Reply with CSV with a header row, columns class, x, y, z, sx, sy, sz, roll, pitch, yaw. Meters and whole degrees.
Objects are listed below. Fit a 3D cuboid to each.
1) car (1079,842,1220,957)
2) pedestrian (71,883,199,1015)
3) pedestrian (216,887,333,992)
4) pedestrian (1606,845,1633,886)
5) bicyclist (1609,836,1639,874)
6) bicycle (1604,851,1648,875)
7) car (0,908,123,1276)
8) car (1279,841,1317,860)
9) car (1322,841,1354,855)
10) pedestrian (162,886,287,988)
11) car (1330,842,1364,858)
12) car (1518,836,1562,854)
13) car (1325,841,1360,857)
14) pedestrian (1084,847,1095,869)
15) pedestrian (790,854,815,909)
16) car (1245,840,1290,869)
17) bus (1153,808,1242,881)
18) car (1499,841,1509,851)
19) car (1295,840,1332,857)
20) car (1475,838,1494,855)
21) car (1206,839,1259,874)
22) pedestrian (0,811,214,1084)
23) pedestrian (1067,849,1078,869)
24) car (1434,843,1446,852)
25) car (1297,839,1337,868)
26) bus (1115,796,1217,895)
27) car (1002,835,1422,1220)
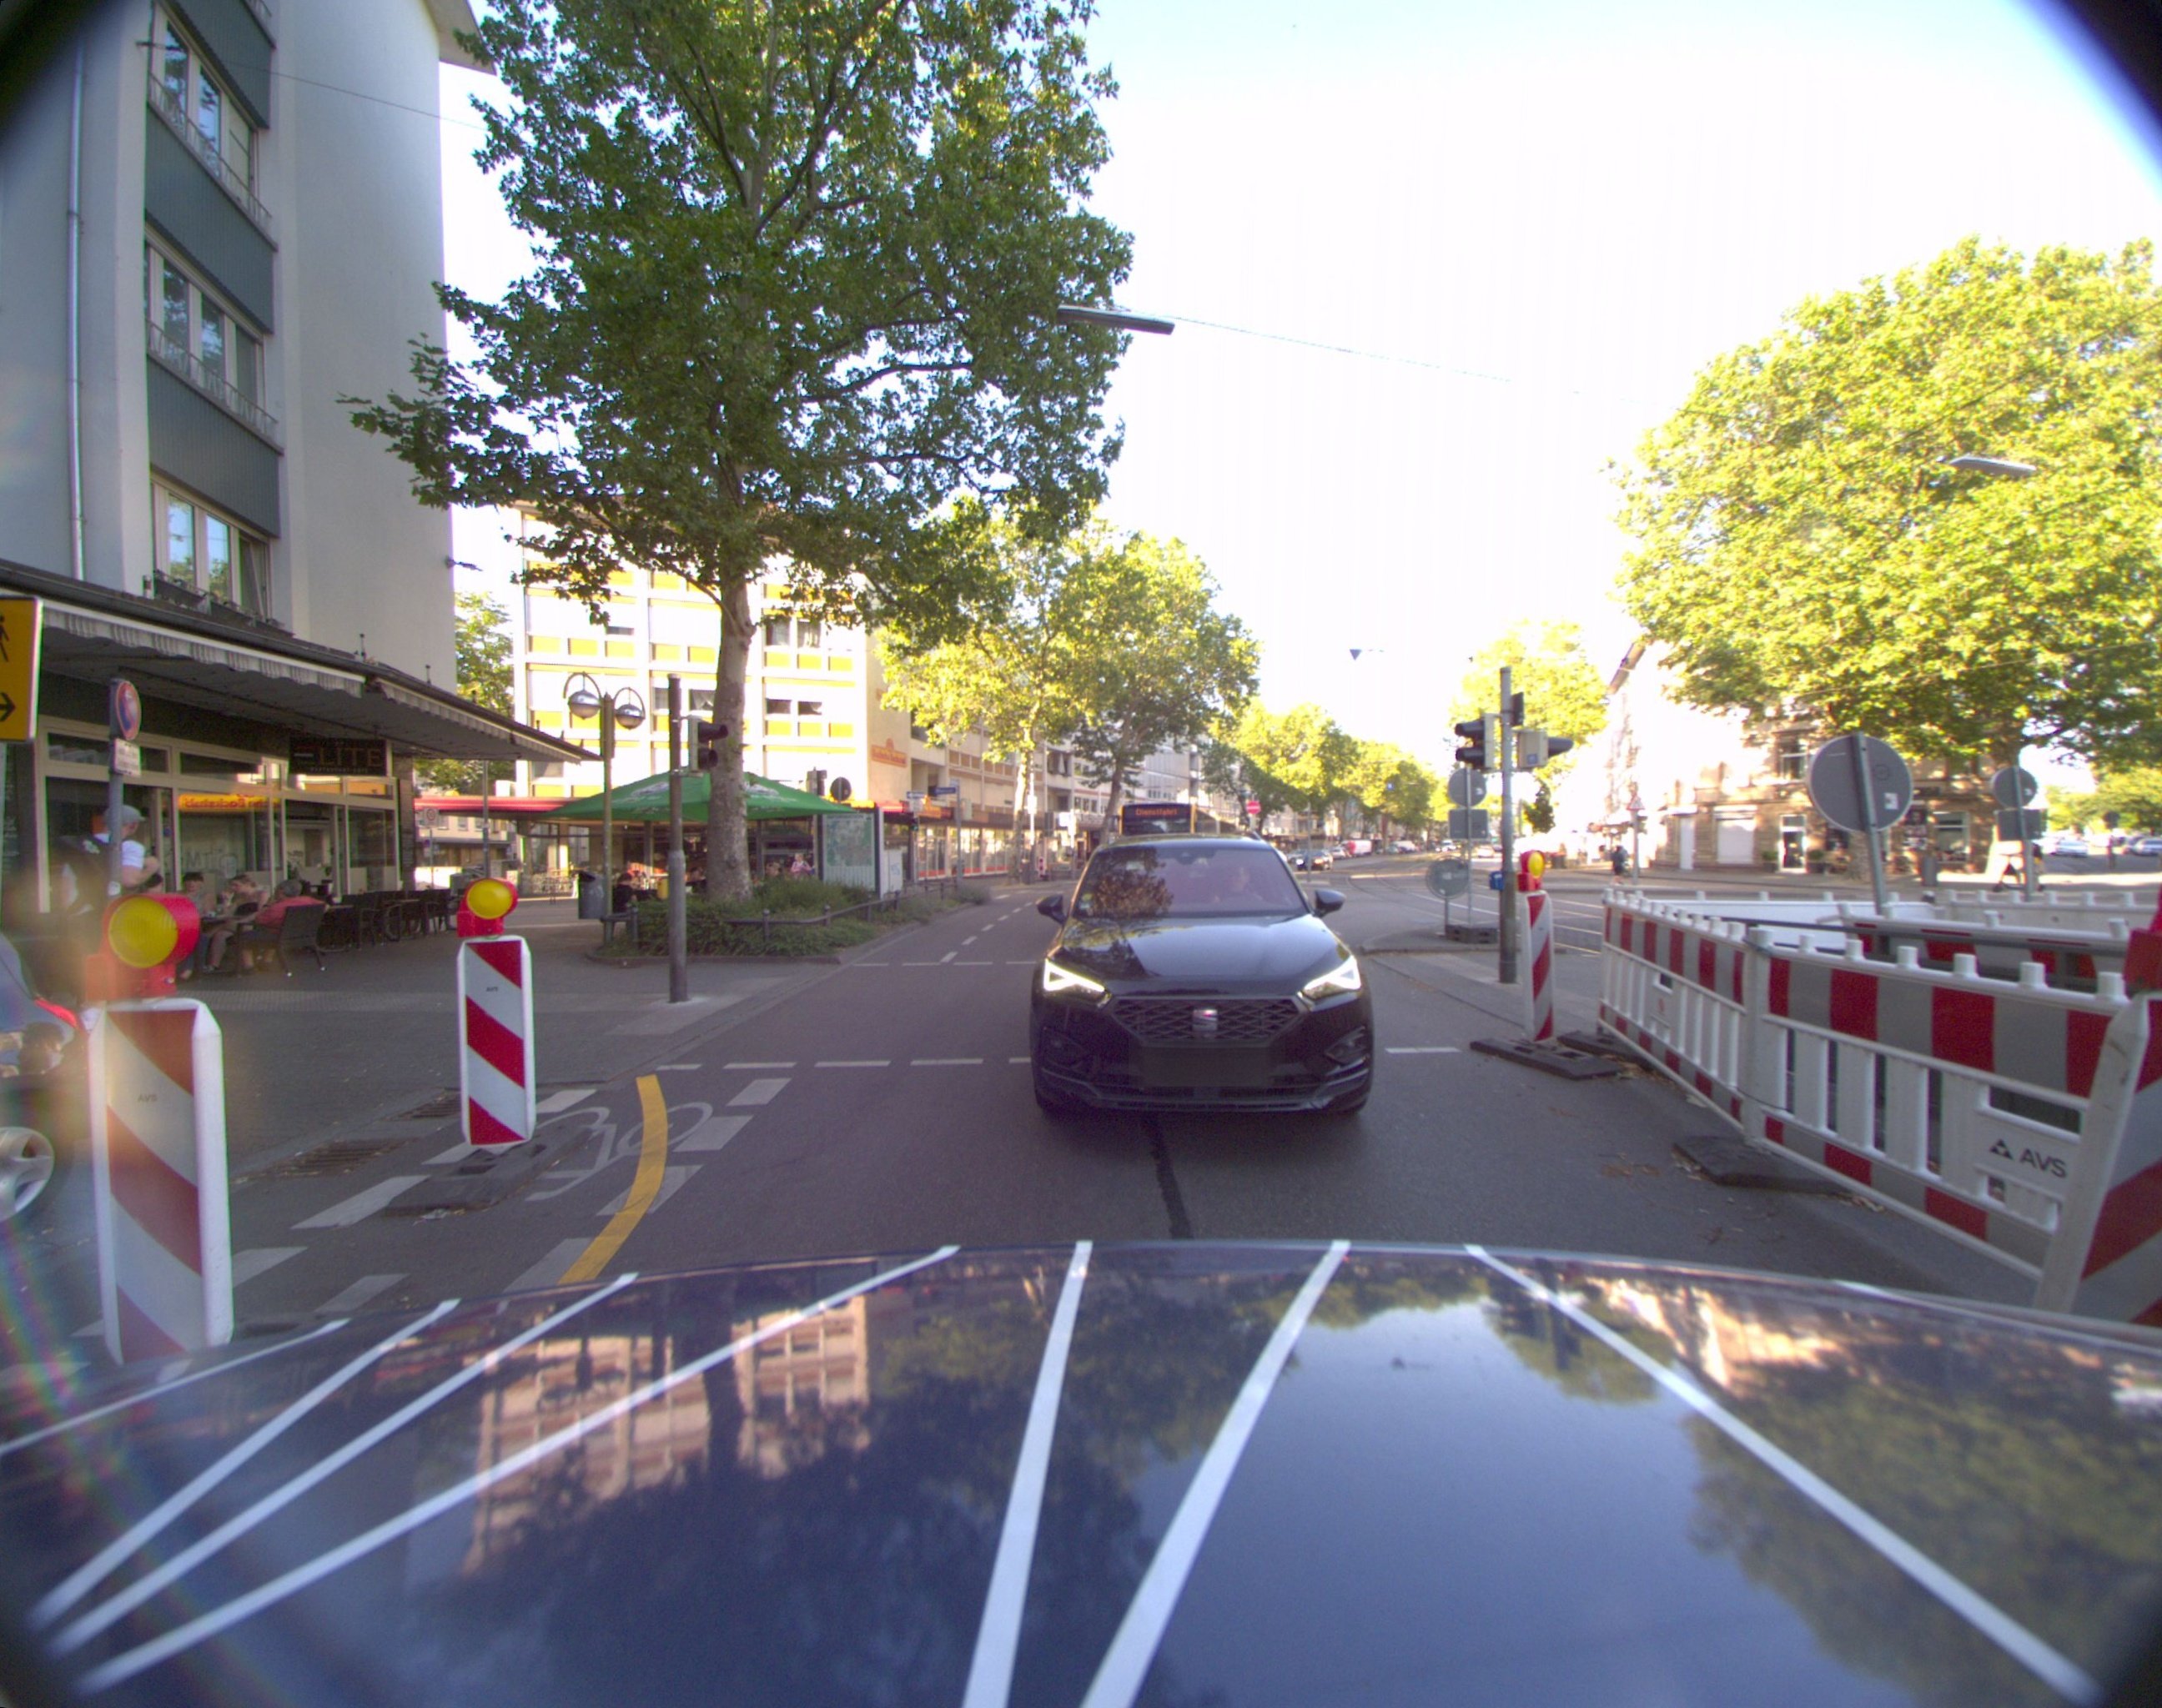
class,x,y,z,sx,sy,sz,roll,pitch,yaw
car,1.013,0.636,12.949,1.998,1.634,4.075,-1,1,1
pedestrian,-10.190,0.979,8.190,0.789,1.299,0.701,0,1,28
pedestrian,-9.883,1.015,9.323,0.877,1.186,0.701,0,1,24
pedestrian,20.301,0.421,28.647,0.603,1.524,0.745,0,1,12
bicyclist,28.724,0.034,40.202,0.855,2.002,0.983,-1,1,0
bicycle,28.749,0.470,40.150,0.851,1.186,2.467,0,1,8
car,-5.231,0.977,1.649,1.771,1.459,3.610,2,1,-2
car,24.350,-0.399,85.089,3.991,2.002,2.003,0,1,18
car,36.431,-0.865,107.598,3.994,2.002,2.001,-1,1,8
pedestrian,-10.781,1.023,9.594,0.647,1.186,0.792,0,1,7
car,36.078,-0.555,103.180,3.994,2.002,2.001,-1,1,8
car,52.474,-0.980,86.898,4.001,2.002,1.997,-1,1,-13
car,33.776,-0.646,98.351,3.994,2.002,2.001,-1,1,8
pedestrian,0.634,0.307,55.857,0.627,1.577,0.532,0,1,20
pedestrian,-8.505,0.834,23.234,0.629,1.628,0.531,-1,1,-15
car,13.509,0.013,54.904,1.994,2.002,4.008,0,1,33
bus,5.839,-0.444,36.717,2.717,3.088,8.608,0,1,19
car,80.409,-1.507,144.502,1.686,1.841,4.007,0,1,29
car,28.358,-0.642,92.730,3.994,2.002,2.001,-1,1,8
car,49.366,-0.926,92.895,1.995,2.002,4.007,0,1,29
car,9.211,0.142,45.968,1.995,2.002,4.105,0,1,29
pedestrian,-7.544,0.666,5.850,0.648,1.948,0.889,-1,1,0
pedestrian,-0.626,0.356,56.120,0.627,1.429,0.532,0,1,20
car,74.667,-1.328,158.118,1.836,1.692,4.138,0,1,31
car,16.552,-0.059,53.219,1.995,2.002,4.007,0,1,27
bus,3.436,-0.296,28.294,2.718,3.088,8.629,0,1,13
car,0.607,0.755,5.359,1.841,1.696,4.000,-1,1,1
